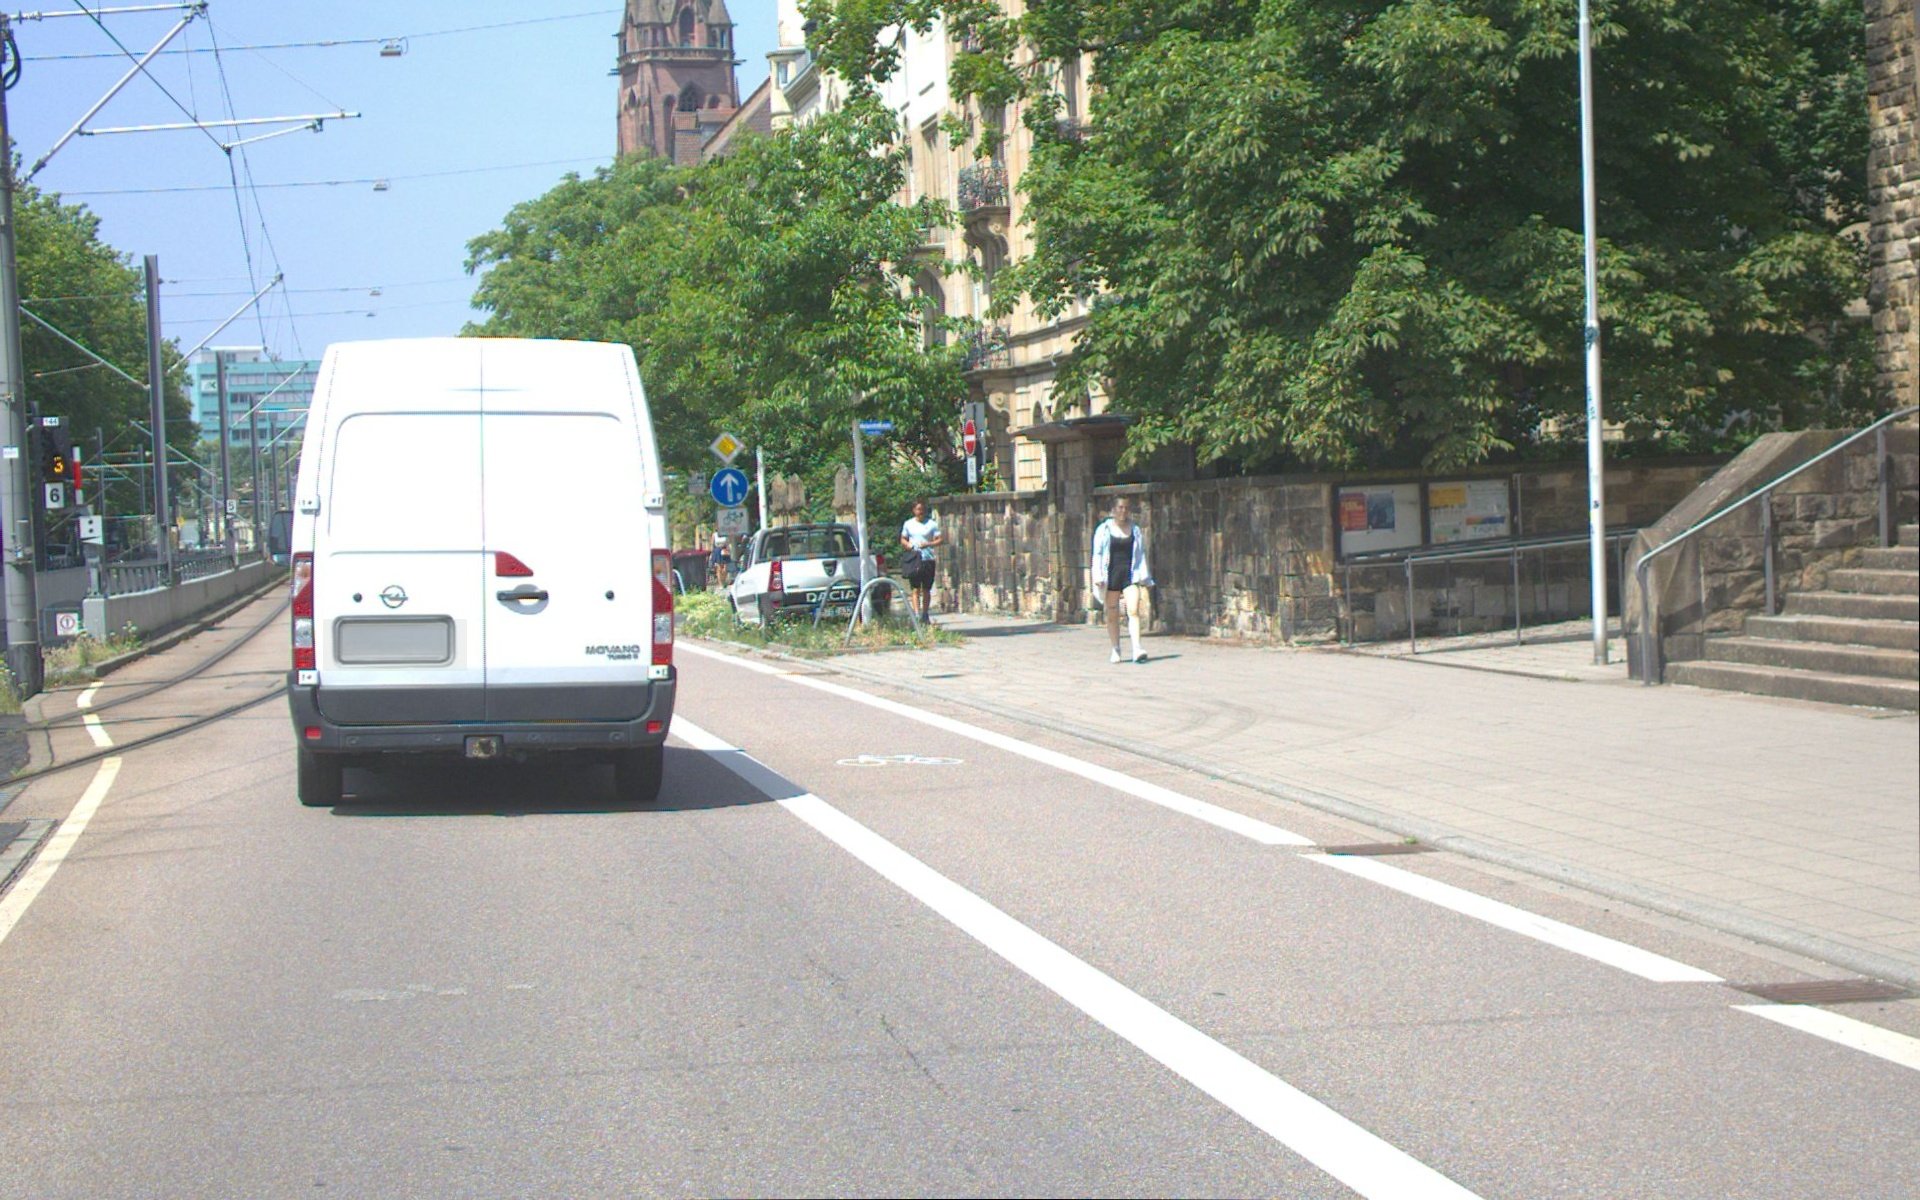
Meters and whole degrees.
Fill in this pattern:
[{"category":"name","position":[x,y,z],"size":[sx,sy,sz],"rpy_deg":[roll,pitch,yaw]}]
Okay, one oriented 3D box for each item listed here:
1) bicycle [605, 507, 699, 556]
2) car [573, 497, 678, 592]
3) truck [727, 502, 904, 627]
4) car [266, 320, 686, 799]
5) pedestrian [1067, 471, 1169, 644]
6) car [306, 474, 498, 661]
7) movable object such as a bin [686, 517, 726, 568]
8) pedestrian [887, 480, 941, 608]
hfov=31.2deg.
[{"category":"bicycle","position":[-6.515,-1.448,72.737],"size":[1.880,0.988,0.470],"rpy_deg":[-2,1,-19]},{"category":"car","position":[-7.500,-1.253,76.718],"size":[1.878,1.941,4.838],"rpy_deg":[-4,2,-10]},{"category":"truck","position":[-2.000,-0.517,46.249],"size":[1.789,1.521,4.467],"rpy_deg":[-3,2,-9]},{"category":"car","position":[-2.938,-0.270,20.289],"size":[2.116,2.450,5.056],"rpy_deg":[-1,1,-10]},{"category":"pedestrian","position":[1.535,-0.421,33.559],"size":[0.793,1.644,0.967],"rpy_deg":[-2,1,-8]},{"category":"car","position":[-6.321,-0.391,38.602],"size":[1.916,1.937,4.265],"rpy_deg":[-2,1,-11]},{"category":"movable object such as a bin","position":[-5.184,-1.170,70.141],"size":[0.787,1.010,0.650],"rpy_deg":[-2,1,-3]},{"category":"pedestrian","position":[-0.637,-0.775,47.599],"size":[0.621,1.748,0.678],"rpy_deg":[-2,1,-8]}]
